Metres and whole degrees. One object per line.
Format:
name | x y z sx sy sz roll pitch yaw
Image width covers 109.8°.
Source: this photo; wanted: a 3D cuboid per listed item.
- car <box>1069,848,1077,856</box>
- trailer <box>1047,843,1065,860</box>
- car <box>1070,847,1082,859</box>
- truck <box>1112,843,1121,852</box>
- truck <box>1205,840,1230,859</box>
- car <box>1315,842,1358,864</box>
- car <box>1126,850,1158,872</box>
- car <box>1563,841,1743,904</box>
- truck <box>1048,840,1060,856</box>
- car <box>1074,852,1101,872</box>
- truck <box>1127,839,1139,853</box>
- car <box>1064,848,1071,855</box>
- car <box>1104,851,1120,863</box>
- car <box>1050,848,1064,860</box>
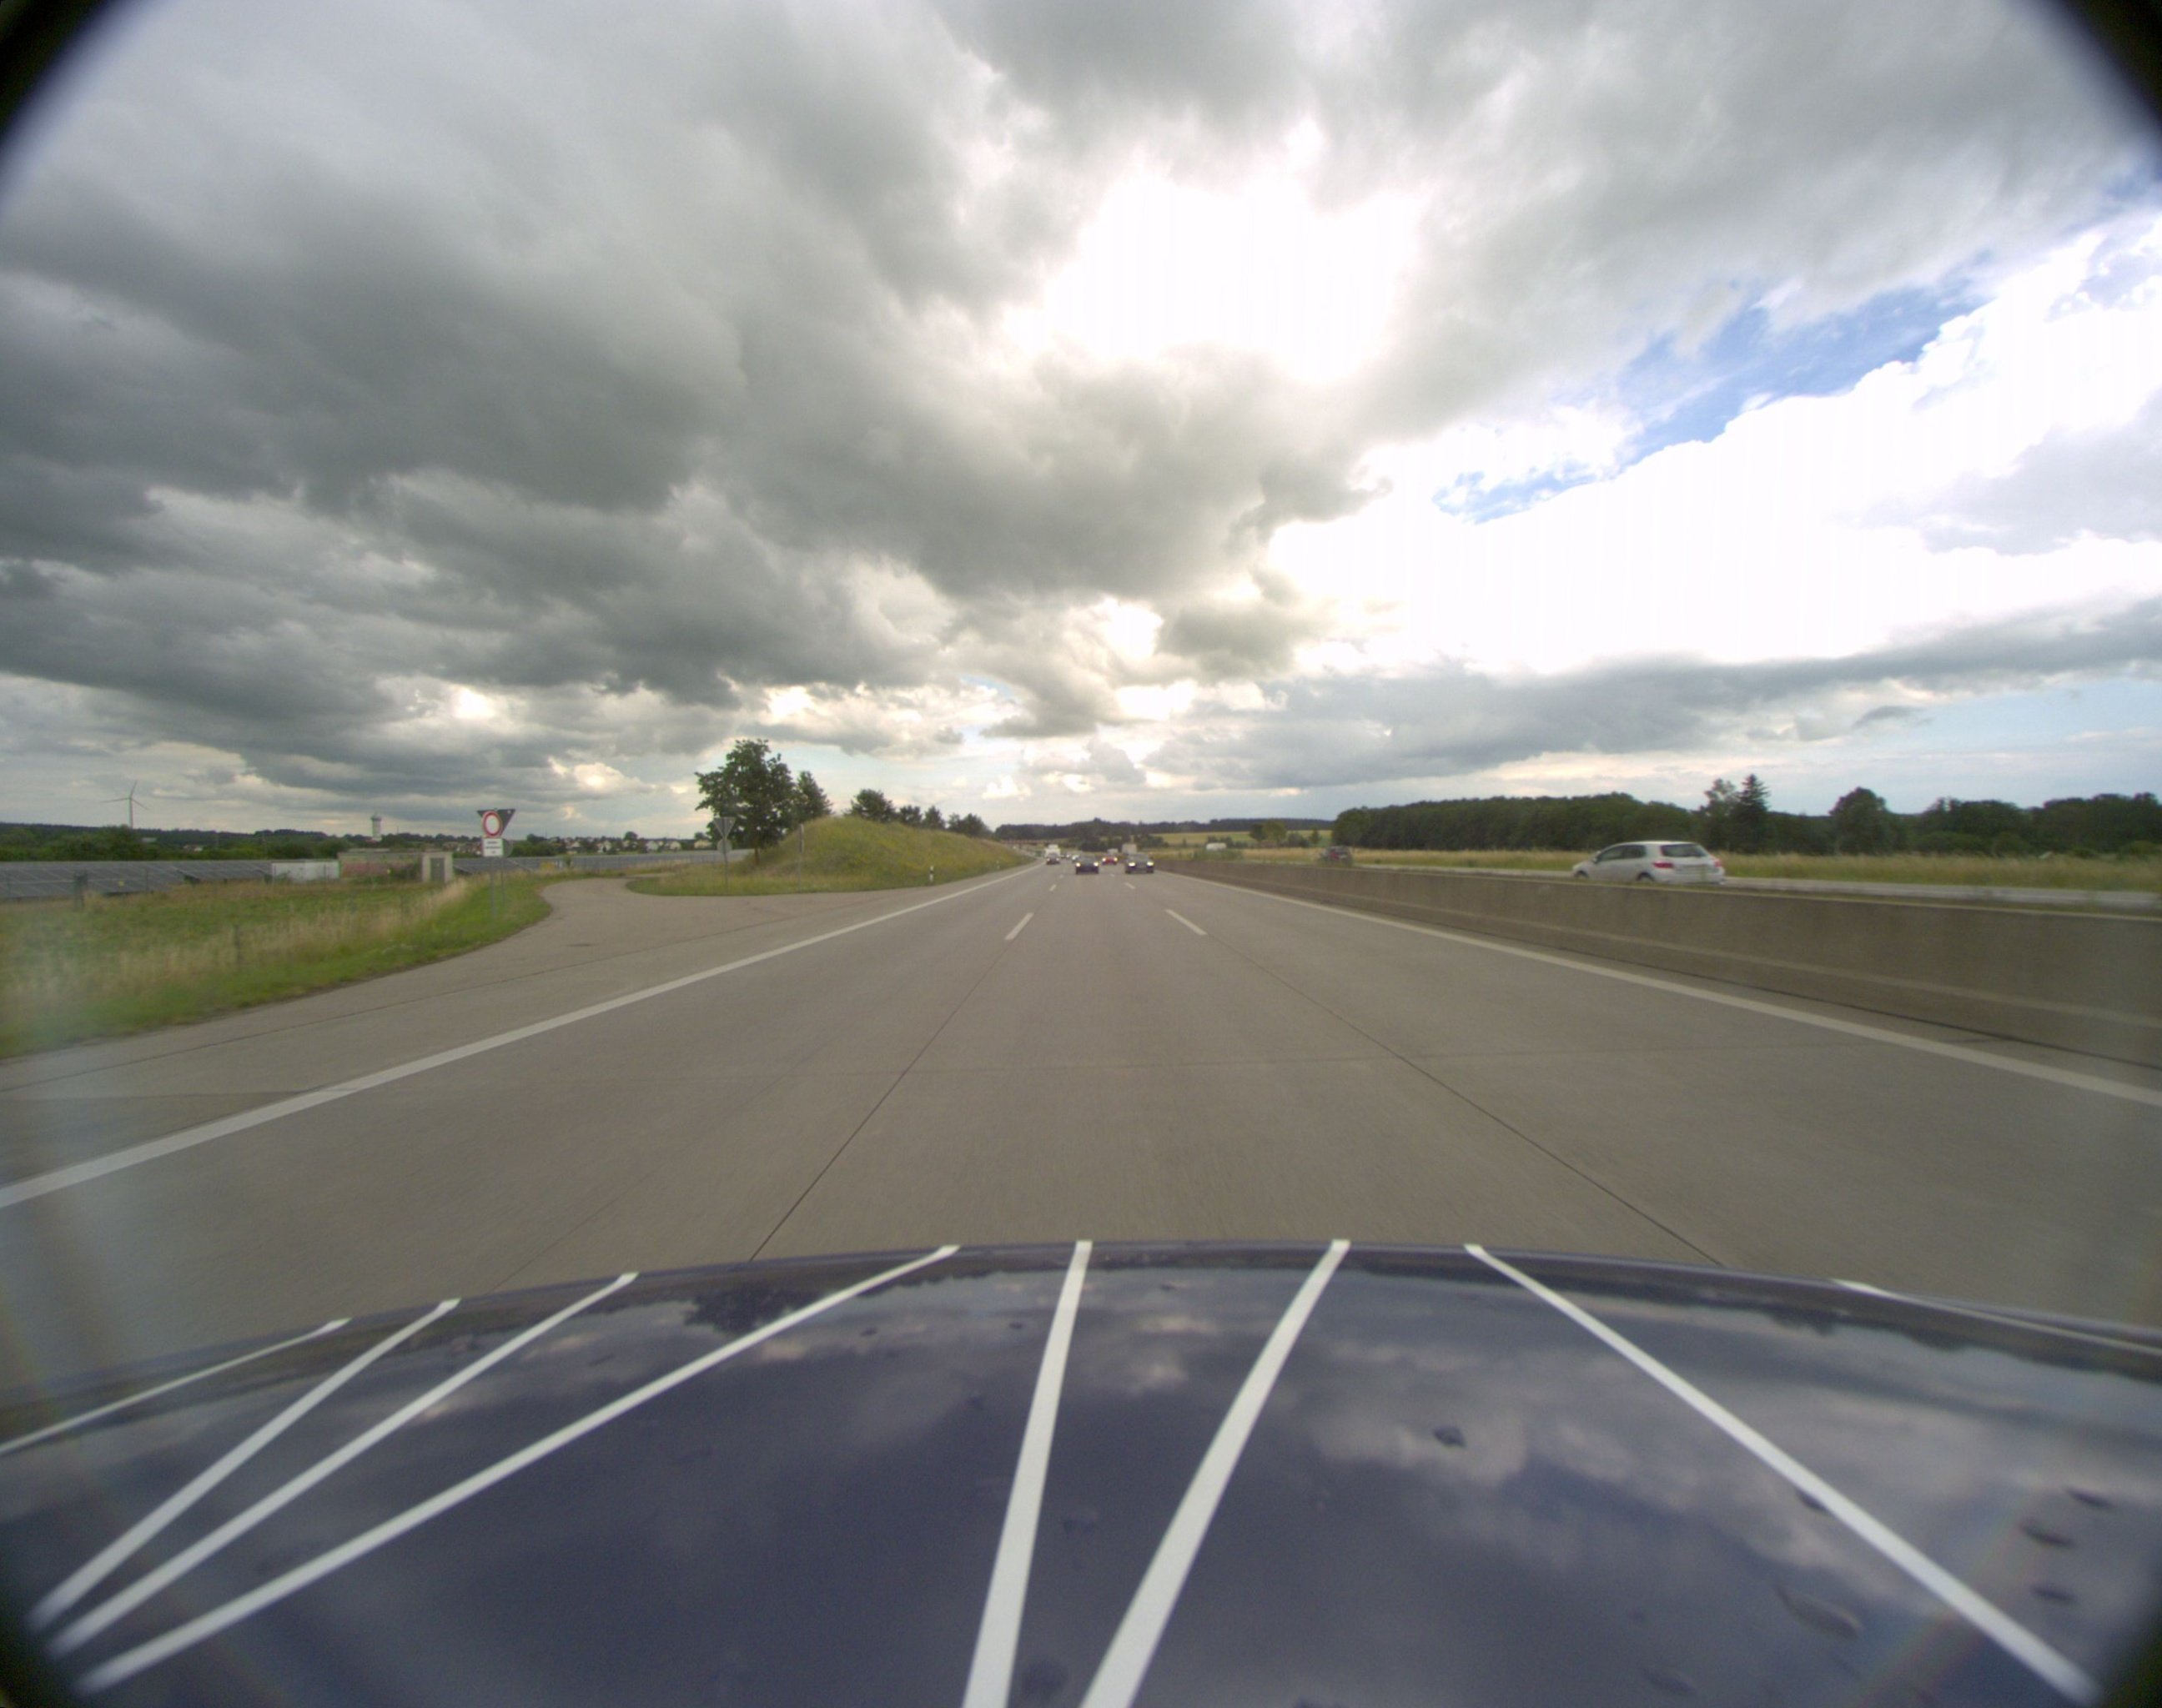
car | -1.980 -0.513 195.781 1.810 2.002 3.841 -3 1 -3
trailer | -4.063 -0.459 121.977 2.616 2.520 6.718 -2 1 -3
car | -0.806 -0.149 127.327 1.998 2.002 4.000 -2 0 1
truck | 11.317 -1.979 242.845 2.622 2.709 6.918 -2 1 -1
truck | 19.585 -0.715 109.667 2.150 2.552 7.446 -2 1 0
car | 20.134 -0.064 60.159 1.753 1.631 4.943 -2 0 0
car | 4.281 0.493 53.969 1.940 1.464 4.000 -2 0 1
car | 16.070 0.437 21.698 1.782 1.498 4.516 -2 1 1
truck | -7.455 -1.538 208.418 2.855 4.176 10.706 -2 0 -2
car | 0.461 0.594 57.836 1.691 1.405 3.998 -2 1 -3
truck | 15.804 -2.520 232.460 2.848 4.231 14.564 -2 1 1
car | -4.124 -0.697 226.252 1.999 2.002 3.998 -2 1 -3
car | 3.808 0.415 94.685 1.821 1.364 3.782 -3 1 1
car | -3.701 0.001 116.139 1.944 1.799 5.029 -2 1 -3
